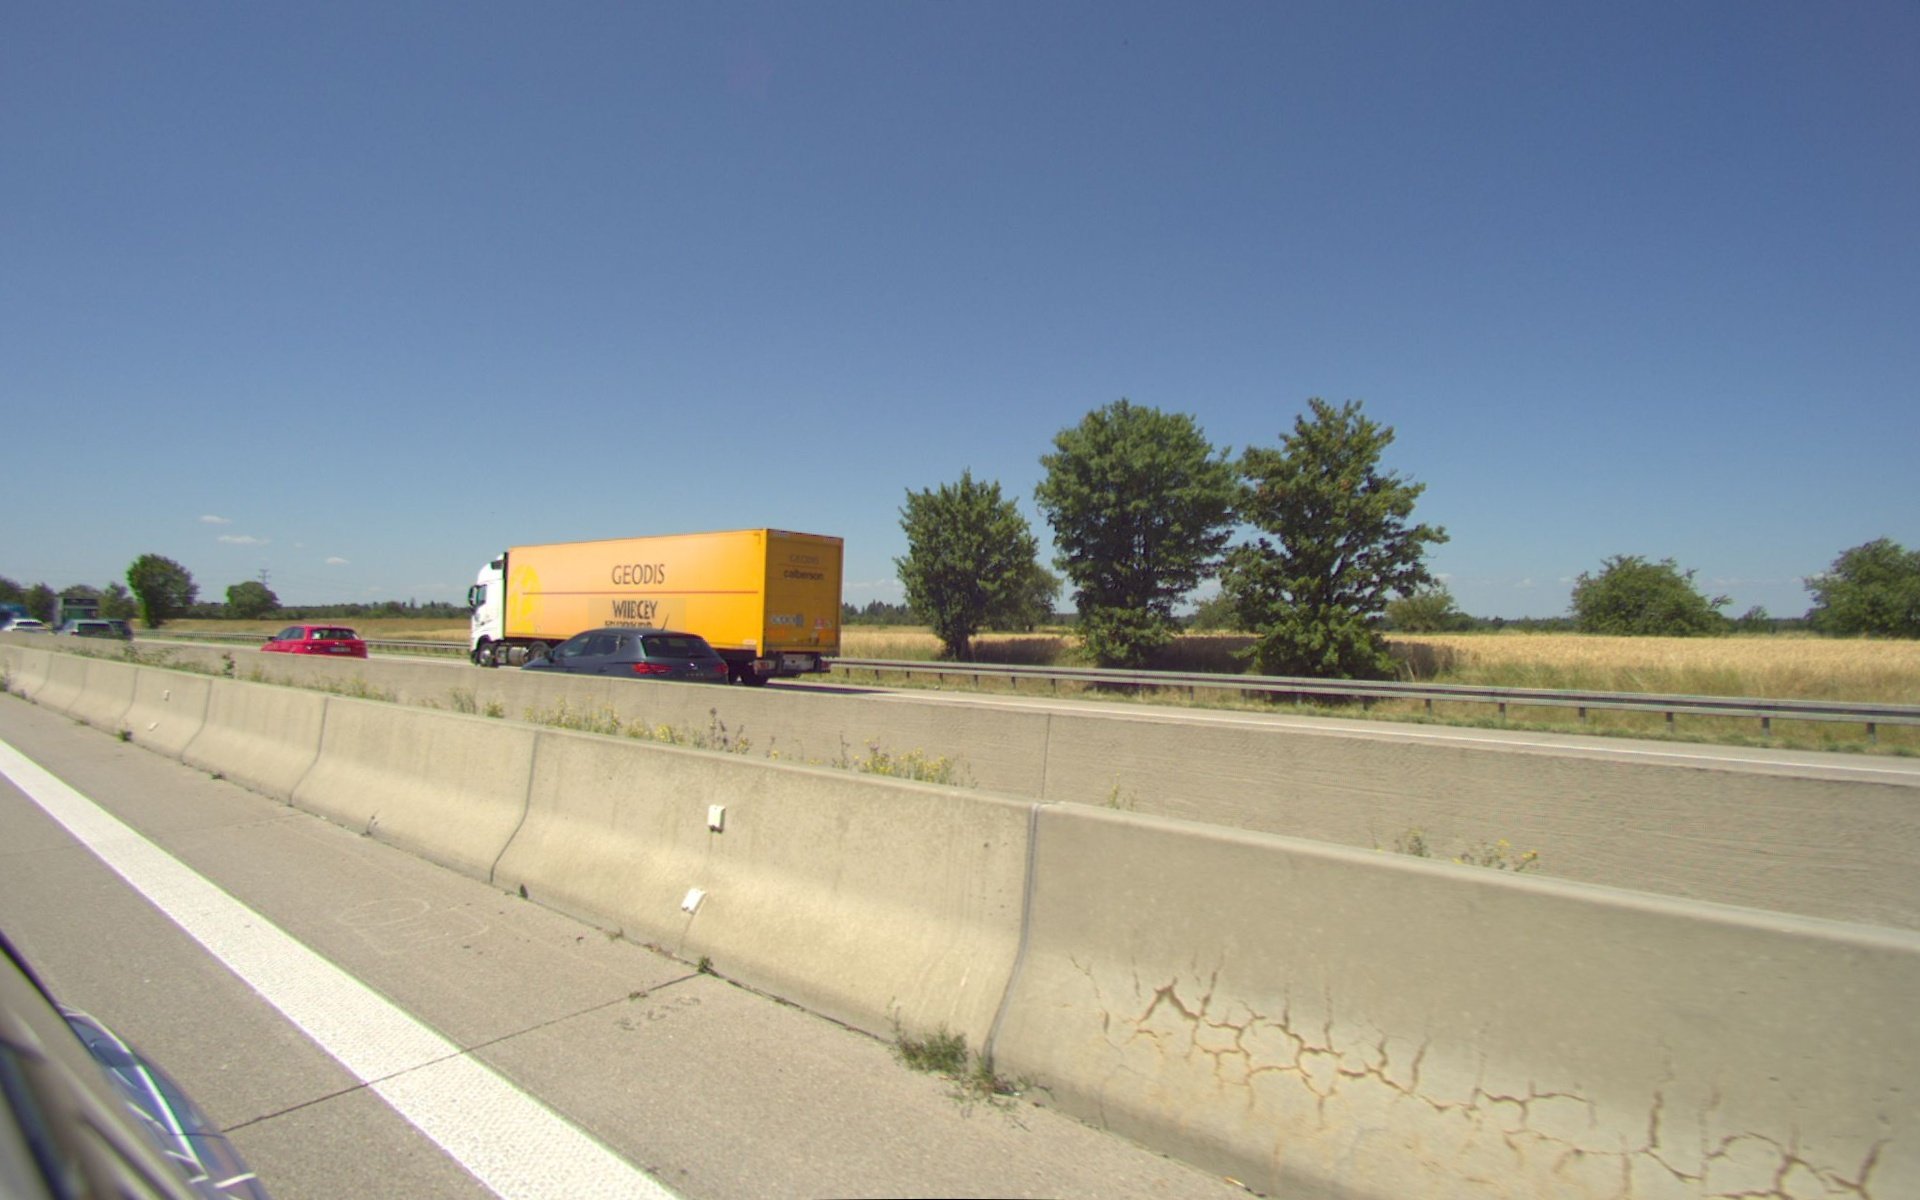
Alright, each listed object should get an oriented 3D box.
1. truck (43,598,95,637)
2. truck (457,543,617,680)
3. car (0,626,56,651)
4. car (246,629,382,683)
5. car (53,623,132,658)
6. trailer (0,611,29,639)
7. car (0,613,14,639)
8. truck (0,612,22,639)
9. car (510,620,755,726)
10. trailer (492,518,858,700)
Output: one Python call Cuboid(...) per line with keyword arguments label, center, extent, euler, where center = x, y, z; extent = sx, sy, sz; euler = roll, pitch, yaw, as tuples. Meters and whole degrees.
Cuboid(label="truck", center=(-83.536, 1.674, 94.856), extent=(7.880, 3.539, 2.528), euler=(-1, -3, 41))
Cuboid(label="truck", center=(-14.221, 0.440, 33.924), extent=(5.227, 4.228, 2.838), euler=(-1, -3, 41))
Cuboid(label="car", center=(-54.688, 2.260, 59.265), extent=(4.668, 1.374, 1.973), euler=(-1, -4, 41))
Cuboid(label="car", center=(-18.358, 1.543, 28.666), extent=(4.714, 1.405, 1.973), euler=(-1, -3, 41))
Cuboid(label="car", center=(-38.401, 1.767, 44.744), extent=(4.708, 1.496, 1.973), euler=(-1, -3, 41))
Cuboid(label="trailer", center=(-119.110, 3.135, 126.884), extent=(9.247, 3.297, 2.489), euler=(-1, -1, 41))
Cuboid(label="car", center=(-97.670, 2.618, 102.432), extent=(6.460, 2.570, 2.127), euler=(-1, -3, 41))
Cuboid(label="truck", center=(-122.351, 3.304, 129.753), extent=(5.260, 3.334, 2.458), euler=(-1, -1, 41))
Cuboid(label="car", center=(-4.985, 1.003, 15.167), extent=(3.998, 1.342, 1.672), euler=(-1, -1, 41))
Cuboid(label="trailer", center=(-8.875, 0.357, 29.268), extent=(14.133, 4.230, 2.843), euler=(-1, -3, 41))
